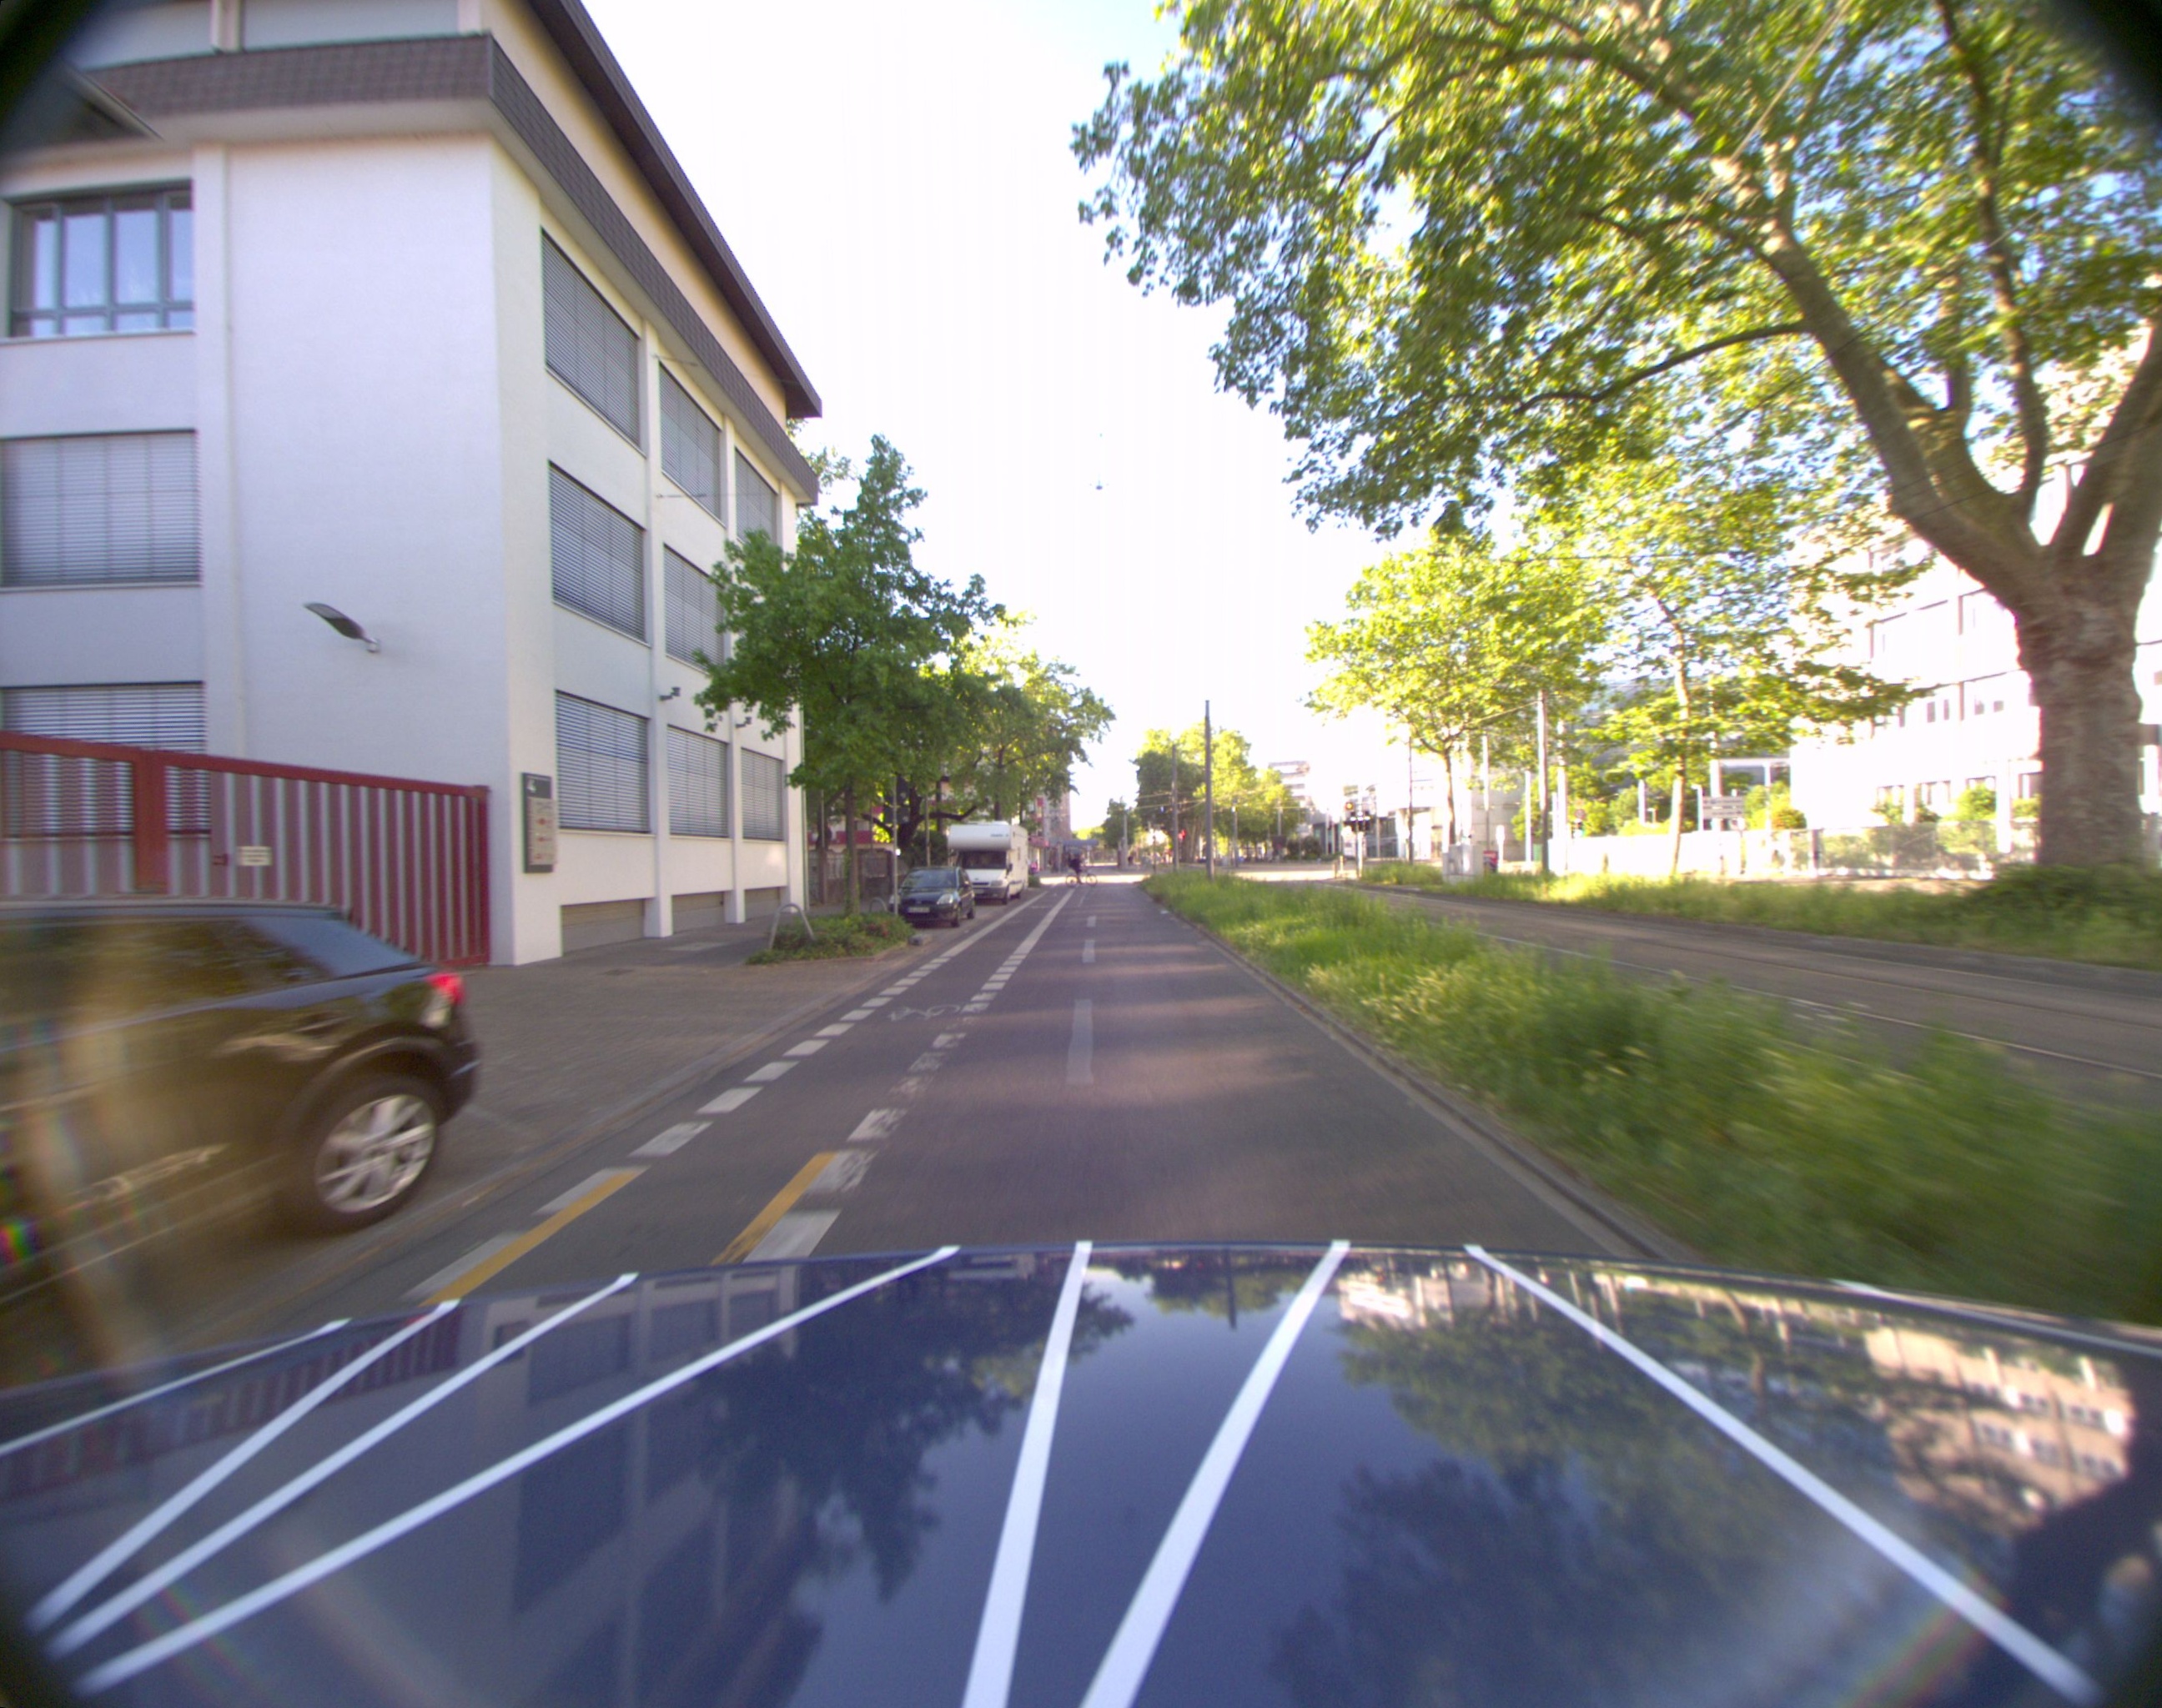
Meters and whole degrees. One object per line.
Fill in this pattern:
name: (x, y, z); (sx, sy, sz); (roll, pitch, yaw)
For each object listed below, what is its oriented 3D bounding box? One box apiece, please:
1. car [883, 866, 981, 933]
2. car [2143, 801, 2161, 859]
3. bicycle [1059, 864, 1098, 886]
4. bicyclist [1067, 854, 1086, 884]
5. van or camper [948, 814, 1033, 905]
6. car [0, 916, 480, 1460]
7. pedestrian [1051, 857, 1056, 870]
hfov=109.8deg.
car: (-3.602, 1.050, 18.998); (1.656, 1.439, 3.801); (0, 0, 0)
car: (34.776, -0.770, 22.244); (1.852, 1.807, 4.000); (-2, 0, 2)
bicycle: (-0.152, 1.171, 42.104); (2.083, 1.122, 0.760); (-2, 1, -2)
bicyclist: (-0.245, 0.824, 42.095); (1.007, 1.567, 0.760); (-2, 1, -2)
van or camper: (-3.291, 0.186, 29.310); (2.172, 3.074, 7.290); (0, 0, 2)
car: (-4.111, 1.061, 1.901); (1.767, 1.475, 4.110); (0, 0, 4)
pedestrian: (-3.782, 1.258, 104.352); (0.621, 1.771, 0.686); (-2, 1, 1)
